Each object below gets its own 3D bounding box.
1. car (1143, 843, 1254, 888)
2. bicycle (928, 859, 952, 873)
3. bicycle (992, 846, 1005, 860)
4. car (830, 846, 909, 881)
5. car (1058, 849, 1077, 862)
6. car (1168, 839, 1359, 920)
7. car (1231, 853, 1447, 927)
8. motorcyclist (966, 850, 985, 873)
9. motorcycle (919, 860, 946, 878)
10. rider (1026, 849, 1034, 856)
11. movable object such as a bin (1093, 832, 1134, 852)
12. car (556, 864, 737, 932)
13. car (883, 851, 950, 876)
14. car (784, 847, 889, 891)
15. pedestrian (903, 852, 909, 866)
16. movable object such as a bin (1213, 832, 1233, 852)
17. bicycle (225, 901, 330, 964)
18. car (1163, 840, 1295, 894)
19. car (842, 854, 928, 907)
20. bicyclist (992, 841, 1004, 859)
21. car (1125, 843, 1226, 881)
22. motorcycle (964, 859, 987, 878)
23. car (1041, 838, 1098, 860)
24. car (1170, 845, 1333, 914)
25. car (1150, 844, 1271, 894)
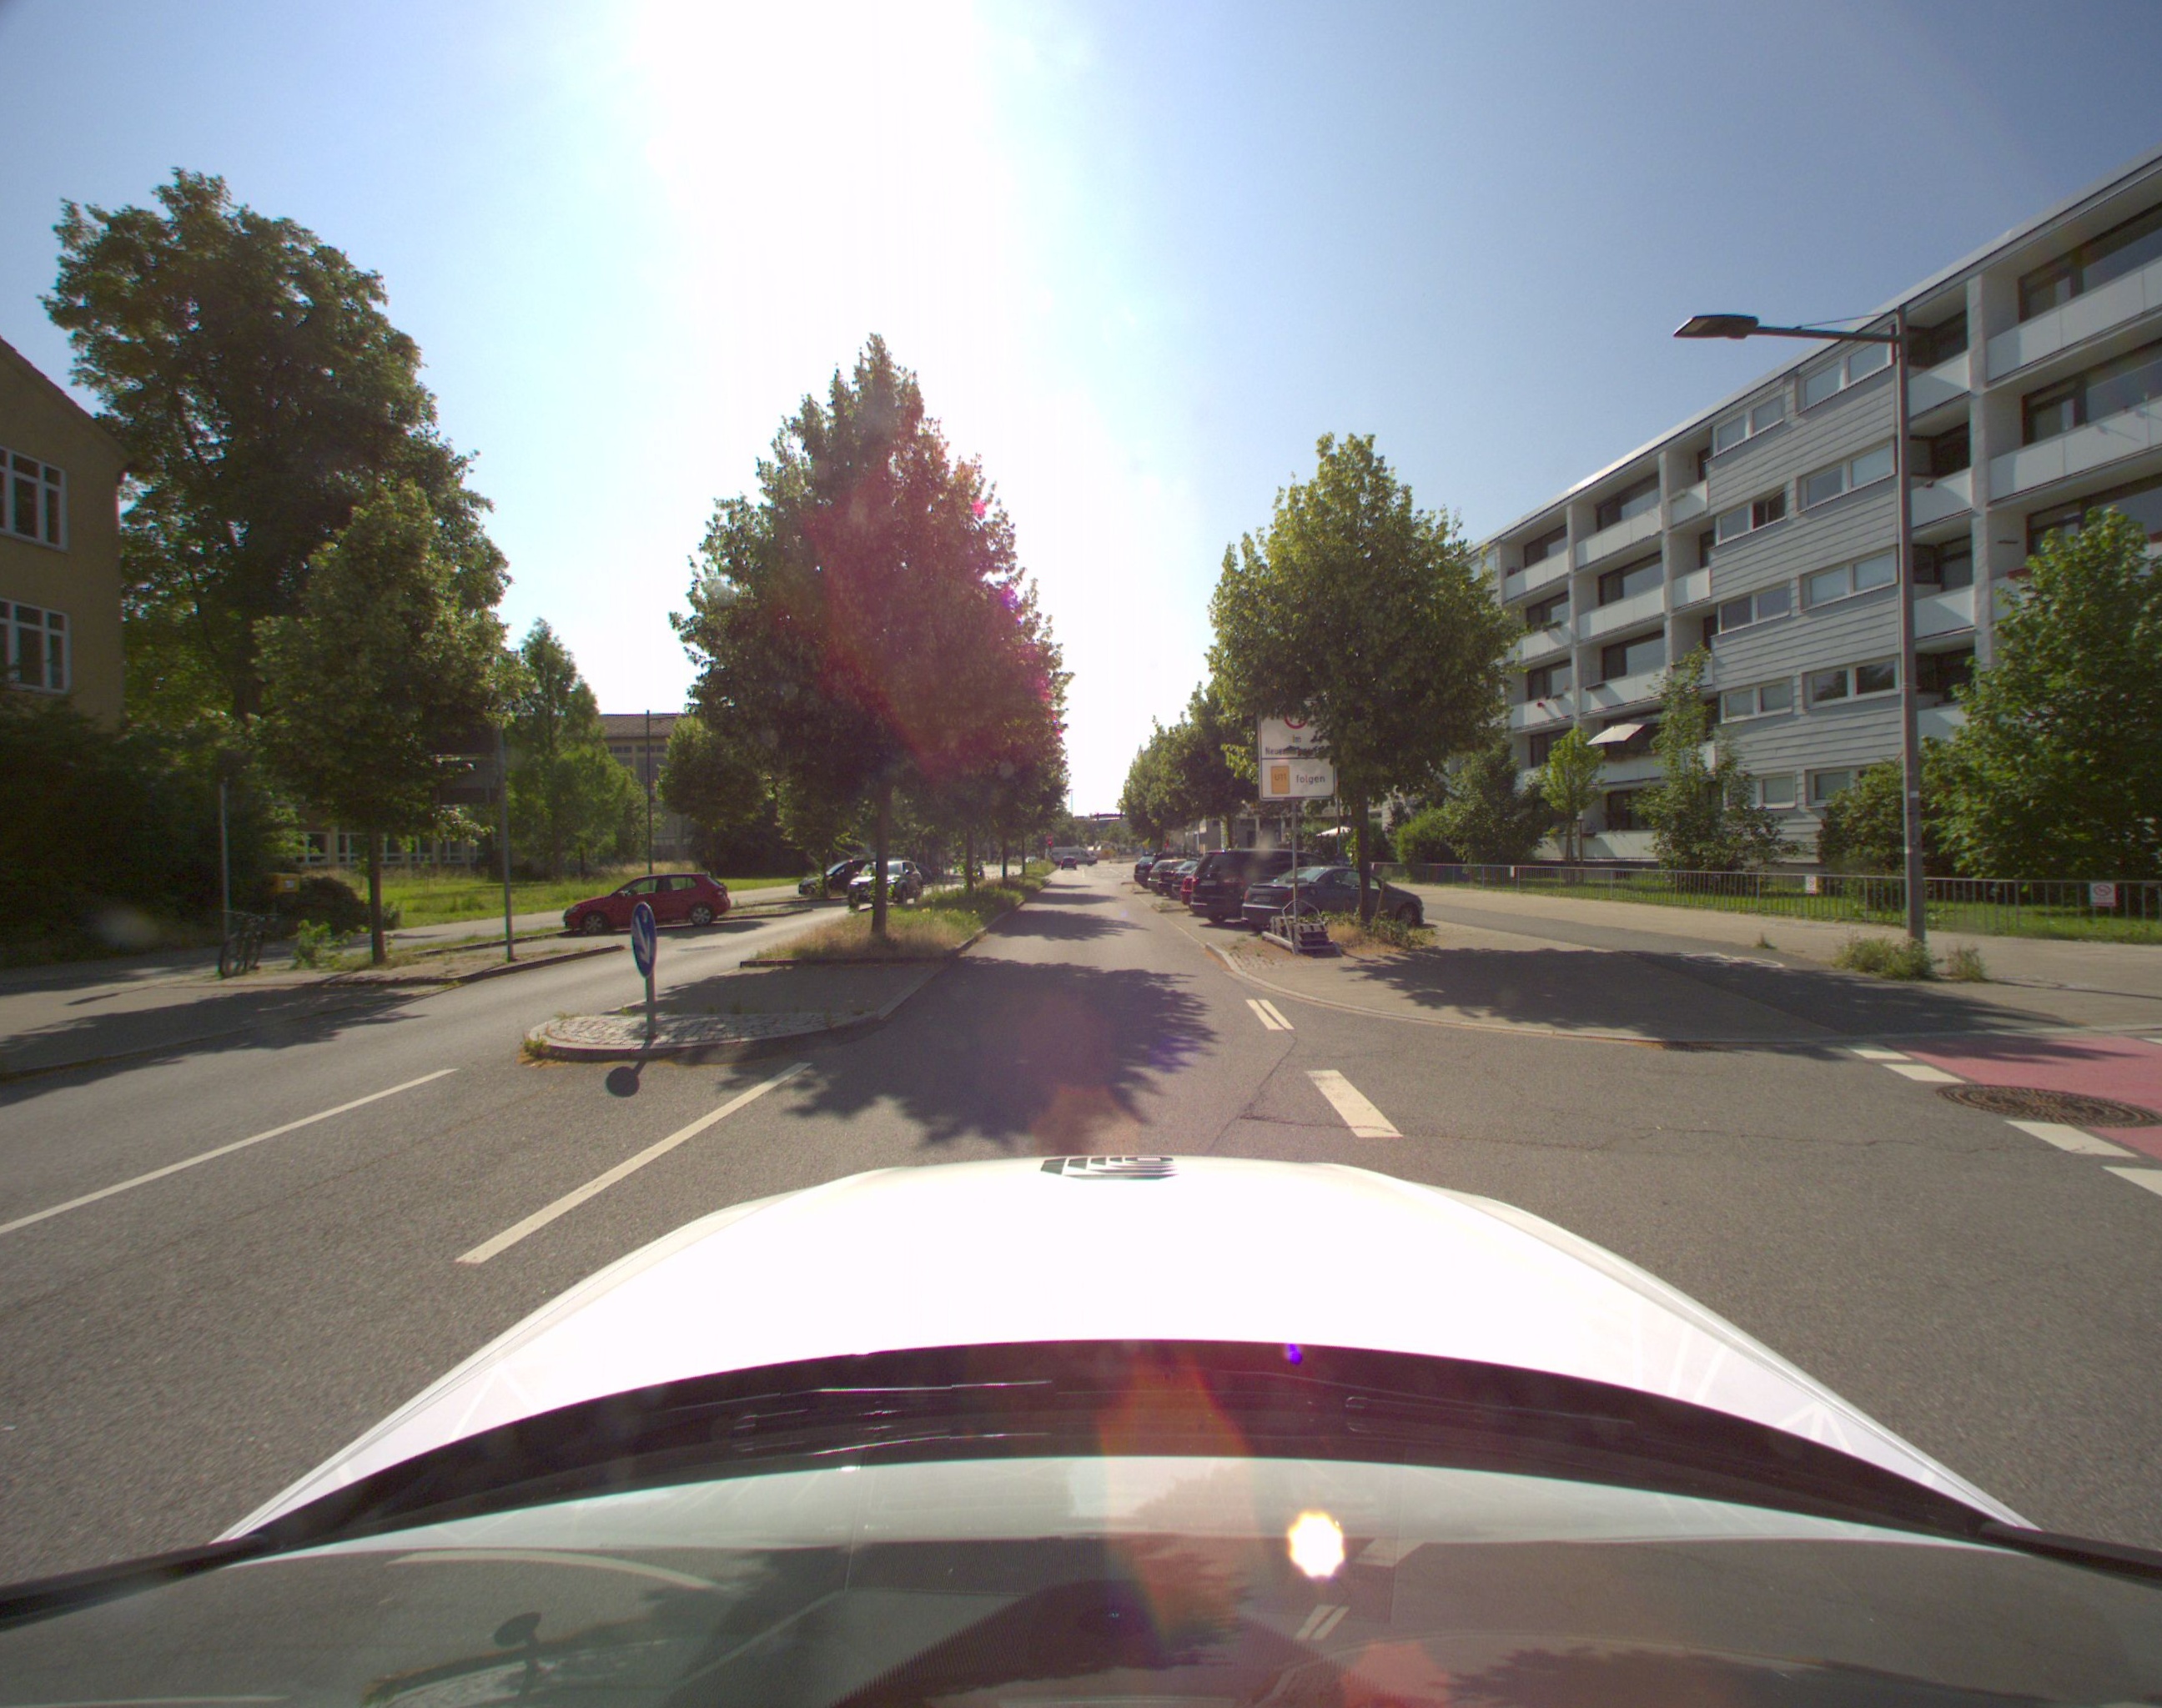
[{"bbox_3d":[4.629,0.434,32.308,3.990,1.640,1.746,-1,0,-12],"label":"car"},{"bbox_3d":[-11.690,1.026,67.475,1.839,1.122,0.693,-1,0,1],"label":"bicycle"},{"bbox_3d":[-13.960,-0.162,138.116,1.594,2.269,4.000,-1,0,0],"label":"bicycle"},{"bbox_3d":[-11.389,0.499,43.800,3.783,1.772,1.803,-1,0,-28],"label":"car"},{"bbox_3d":[-1.505,0.196,90.418,1.989,1.398,3.996,-1,0,-3],"label":"car"},{"bbox_3d":[4.275,0.525,18.936,4.136,1.640,2.023,-1,0,-33],"label":"car"},{"bbox_3d":[5.161,0.653,16.238,4.008,1.236,1.738,-1,0,-26],"label":"car"},{"bbox_3d":[-5.941,0.414,45.871,0.897,1.221,1.062,-1,0,1],"label":"motorcyclist"},{"bbox_3d":[-10.914,1.116,59.921,1.843,1.284,0.691,-1,0,-7],"label":"motorcycle"},{"bbox_3d":[-9.149,-0.200,145.376,1.388,1.196,2.695,-1,0,-2],"label":"rider"},{"bbox_3d":[7.681,-2.774,192.757,9.639,4.550,3.165,-1,0,1],"label":"movable object such as a bin"},{"bbox_3d":[-11.512,1.107,21.907,4.002,1.466,1.986,-3,1,-21],"label":"car"},{"bbox_3d":[-10.579,0.587,52.345,3.794,1.423,1.834,-2,1,-41],"label":"car"},{"bbox_3d":[-11.332,0.672,37.834,4.209,1.816,1.981,-2,1,-38],"label":"car"},{"bbox_3d":[-21.457,0.619,99.994,0.660,1.726,0.748,-2,0,-18],"label":"pedestrian"},{"bbox_3d":[12.311,-1.038,70.606,1.304,1.592,1.394,-4,0,-3],"label":"movable object such as a bin"},{"bbox_3d":[-13.332,1.280,13.562,0.520,0.903,1.268,-3,0,-5],"label":"bicycle"},{"bbox_3d":[4.955,0.419,27.361,3.999,1.640,1.789,-1,0,-19],"label":"car"},{"bbox_3d":[-6.445,0.811,27.175,1.735,1.547,4.074,-3,0,1],"label":"car"},{"bbox_3d":[-13.974,-0.708,137.311,1.594,2.931,2.353,-1,0,0],"label":"bicyclist"},{"bbox_3d":[4.524,0.348,38.672,4.765,1.660,1.734,-1,0,-34],"label":"car"},{"bbox_3d":[-5.927,0.819,45.998,0.920,0.992,2.235,-1,0,1],"label":"motorcycle"},{"bbox_3d":[-1.580,-0.677,108.175,7.413,2.674,2.899,-2,1,-4],"label":"car"},{"bbox_3d":[4.581,0.653,21.803,4.012,1.640,1.862,-1,-1,-30],"label":"car"},{"bbox_3d":[4.684,0.493,29.549,4.003,1.640,1.740,-2,1,-22],"label":"car"}]
